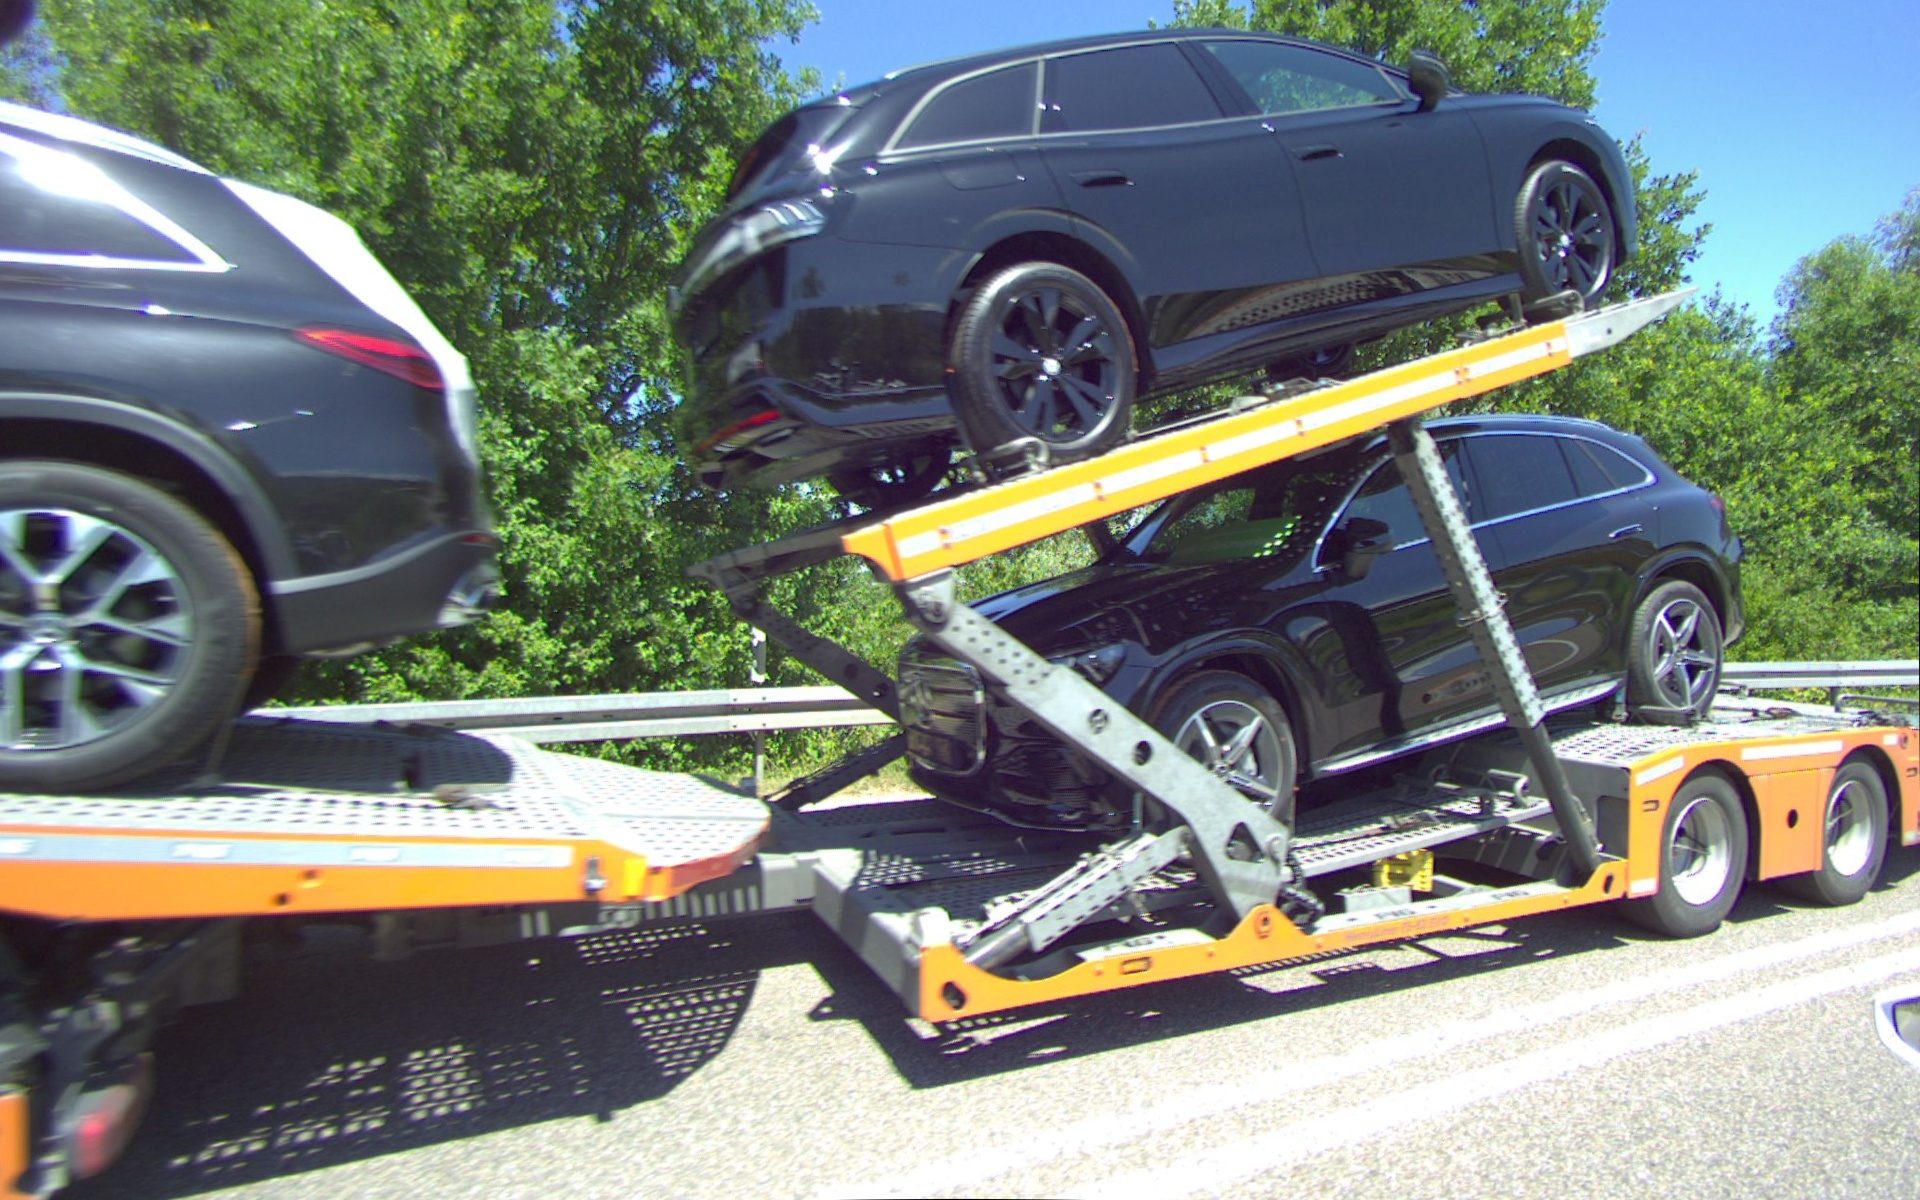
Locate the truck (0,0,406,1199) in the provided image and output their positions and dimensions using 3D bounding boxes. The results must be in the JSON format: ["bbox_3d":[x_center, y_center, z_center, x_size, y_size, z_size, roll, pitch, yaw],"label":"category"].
[{"bbox_3d":[-5.604,-0.664,1.101,8.674,3.950,2.777,1,0,-29],"label":"truck"}]

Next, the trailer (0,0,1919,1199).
[{"bbox_3d":[1.044,-0.513,4.619,13.793,3.950,2.785,1,0,-25],"label":"trailer"}]
